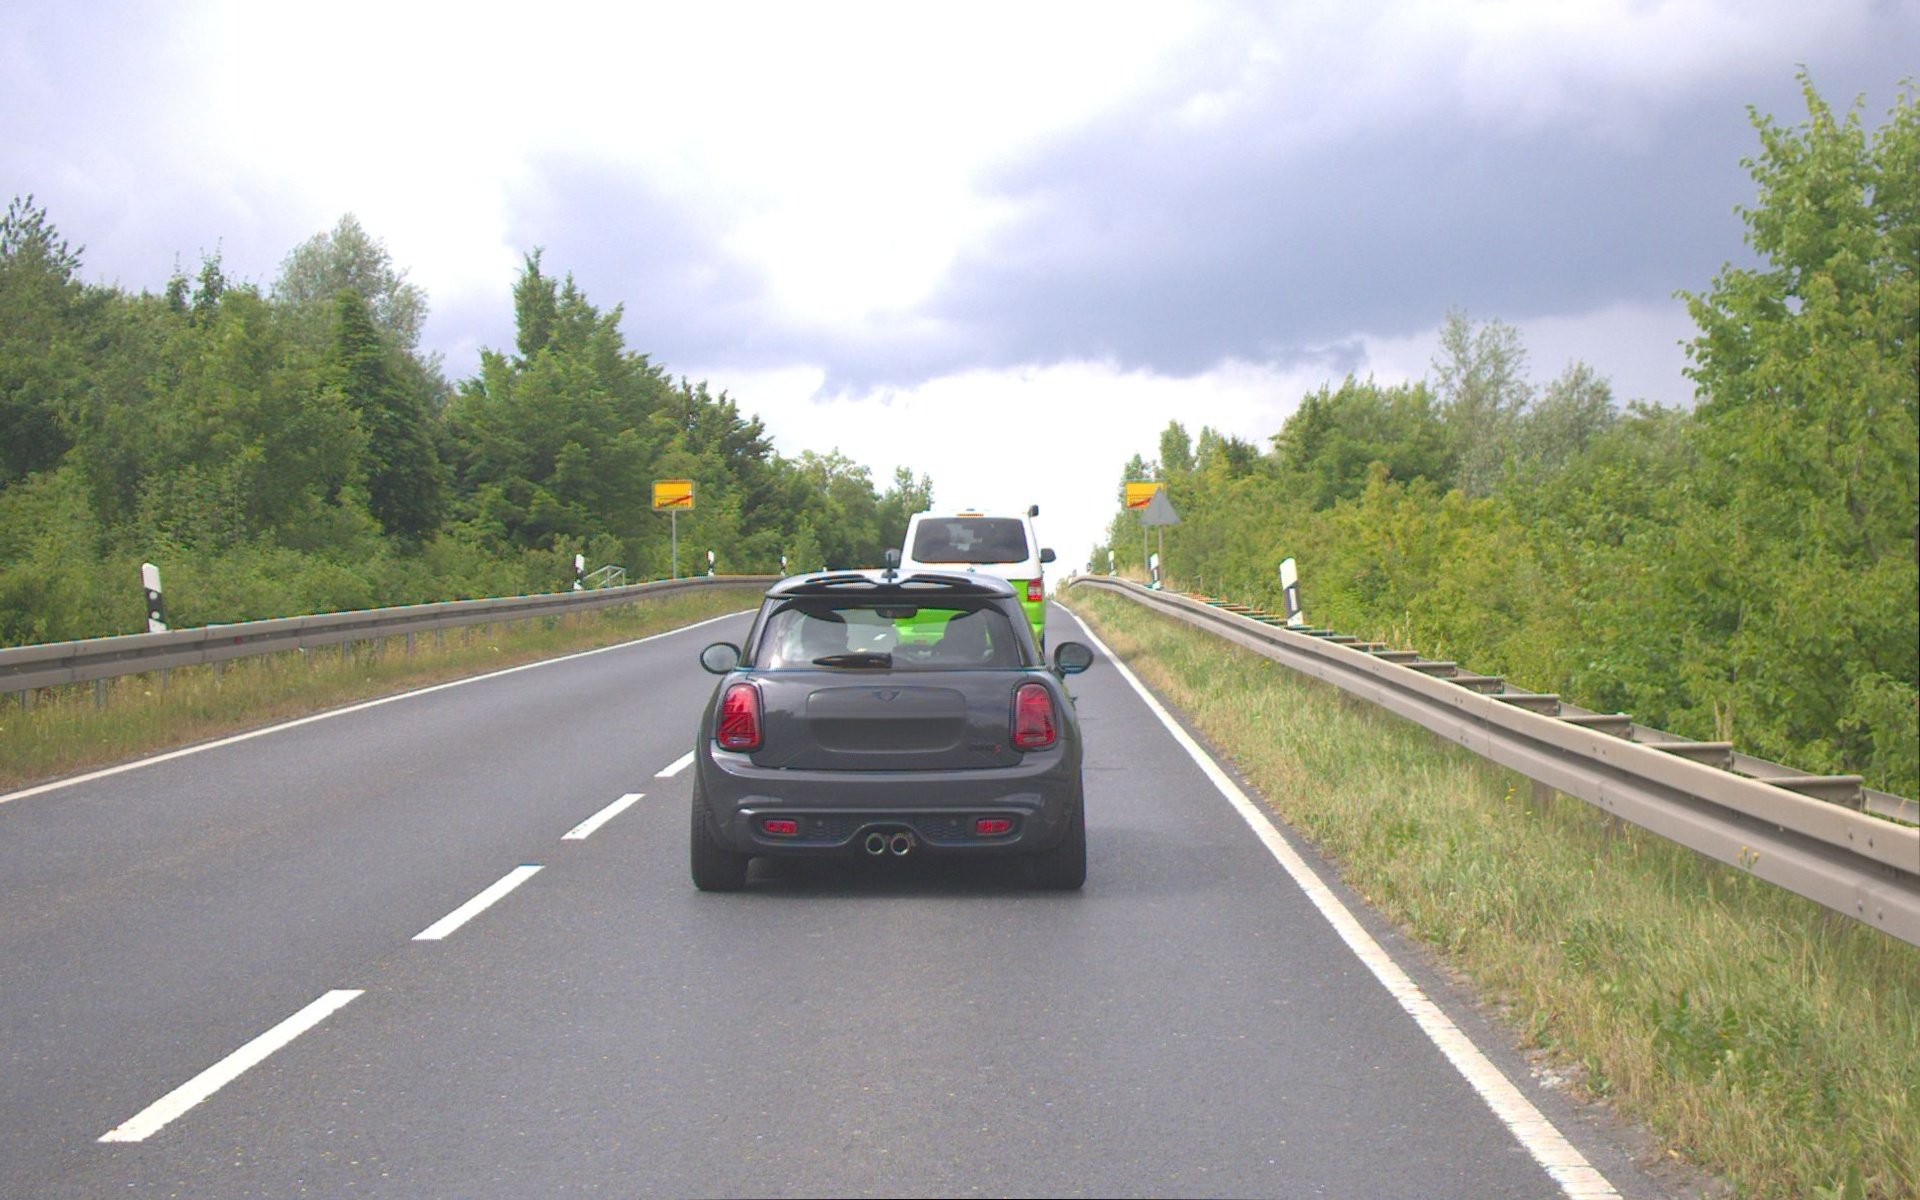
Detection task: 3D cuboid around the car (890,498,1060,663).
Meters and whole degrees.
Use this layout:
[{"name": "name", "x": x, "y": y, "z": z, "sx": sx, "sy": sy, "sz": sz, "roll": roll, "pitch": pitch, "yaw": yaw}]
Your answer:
[{"name": "car", "x": 0.238, "y": -0.269, "z": 44.220, "sx": 2.022, "sy": 2.006, "sz": 4.000, "roll": 1, "pitch": 1, "yaw": 2}]

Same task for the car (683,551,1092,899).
[{"name": "car", "x": -0.383, "y": 0.505, "z": 16.592, "sx": 1.732, "sy": 1.451, "sz": 4.001, "roll": 0, "pitch": 1, "yaw": -2}]
